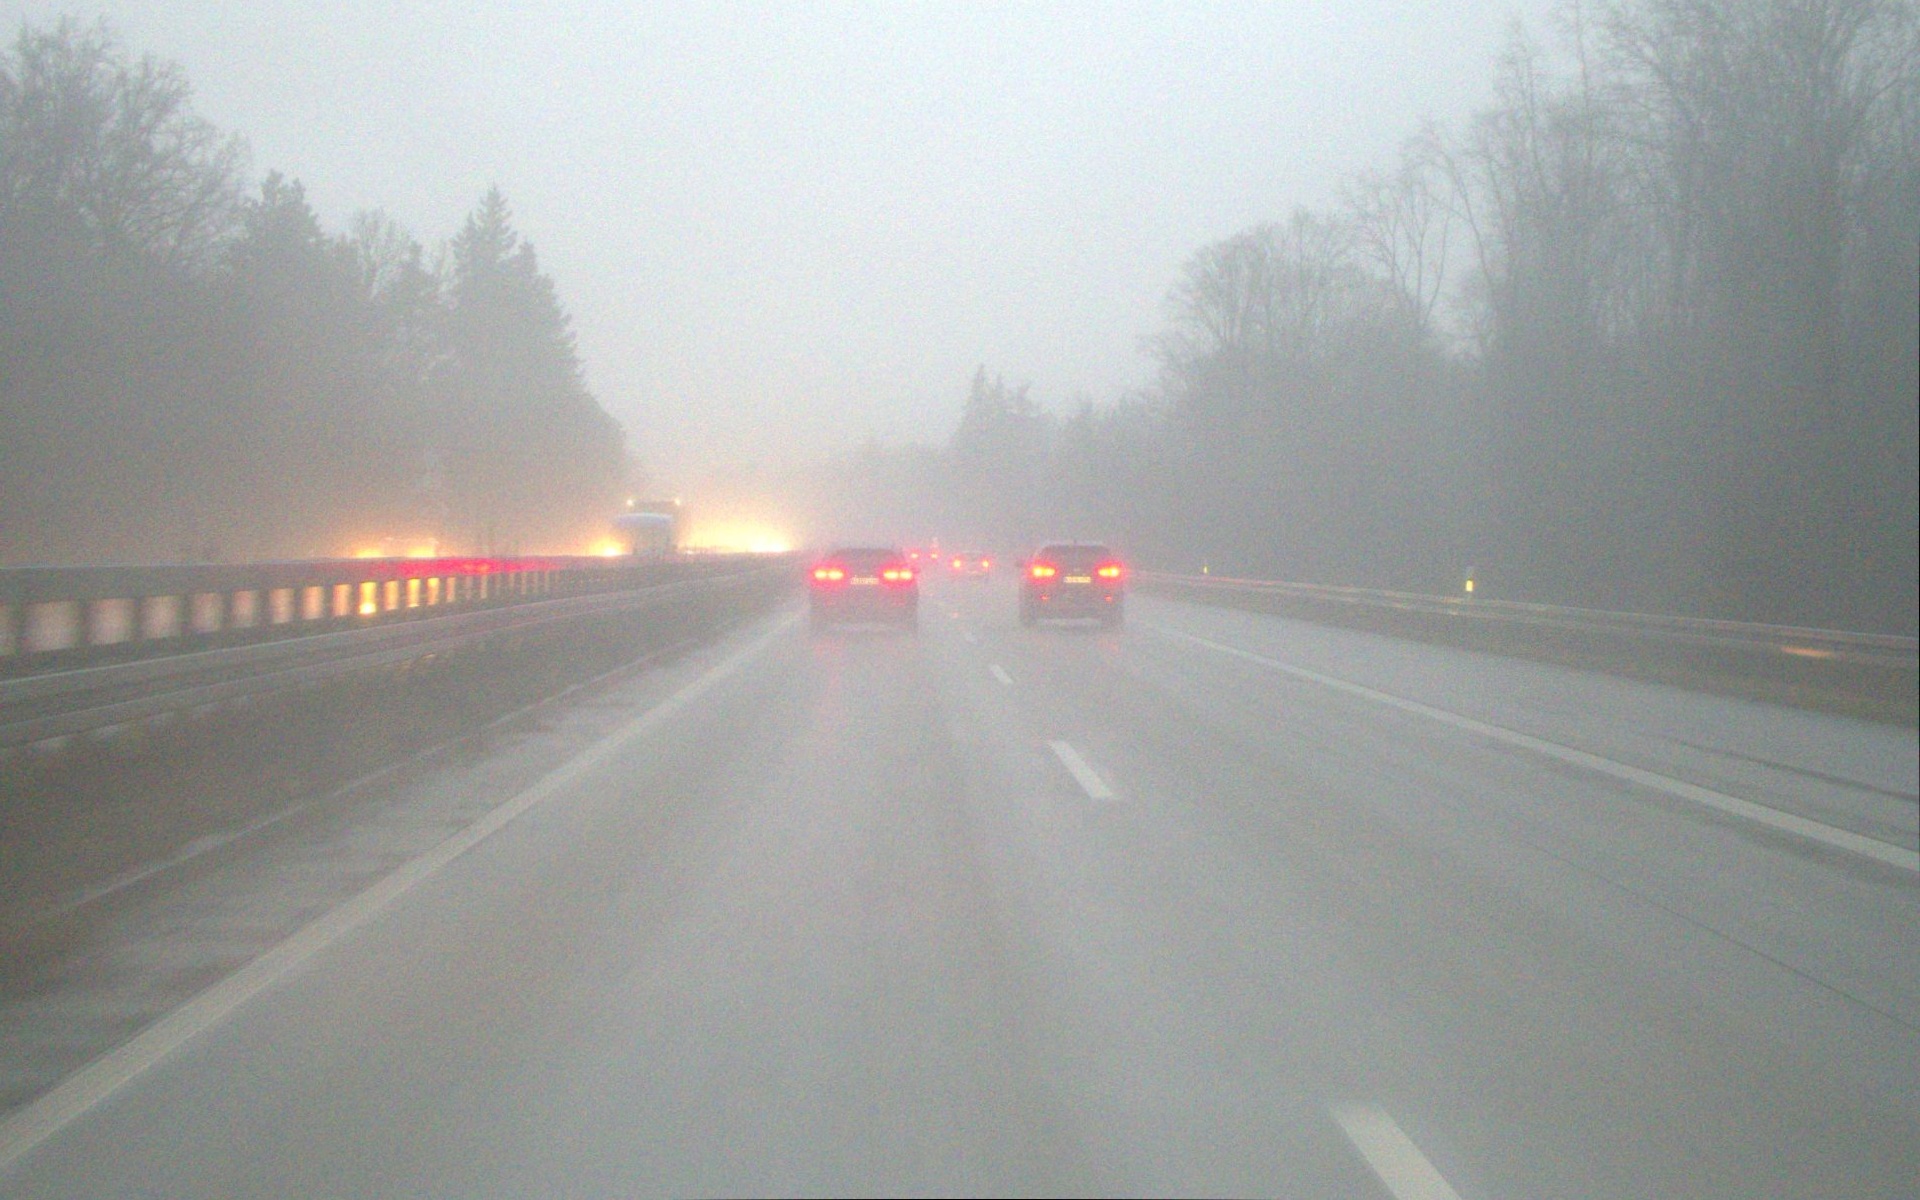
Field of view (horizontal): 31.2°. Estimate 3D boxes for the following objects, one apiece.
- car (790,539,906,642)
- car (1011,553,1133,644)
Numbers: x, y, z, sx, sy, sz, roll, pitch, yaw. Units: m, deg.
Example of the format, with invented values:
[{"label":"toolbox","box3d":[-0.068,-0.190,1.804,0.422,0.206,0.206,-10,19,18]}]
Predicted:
[{"label":"car","box3d":[-2.026,-0.181,61.076,1.986,1.761,4.174,0,1,-3]},{"label":"car","box3d":[2.149,-0.054,67.068,2.070,1.692,4.461,1,1,-2]}]
